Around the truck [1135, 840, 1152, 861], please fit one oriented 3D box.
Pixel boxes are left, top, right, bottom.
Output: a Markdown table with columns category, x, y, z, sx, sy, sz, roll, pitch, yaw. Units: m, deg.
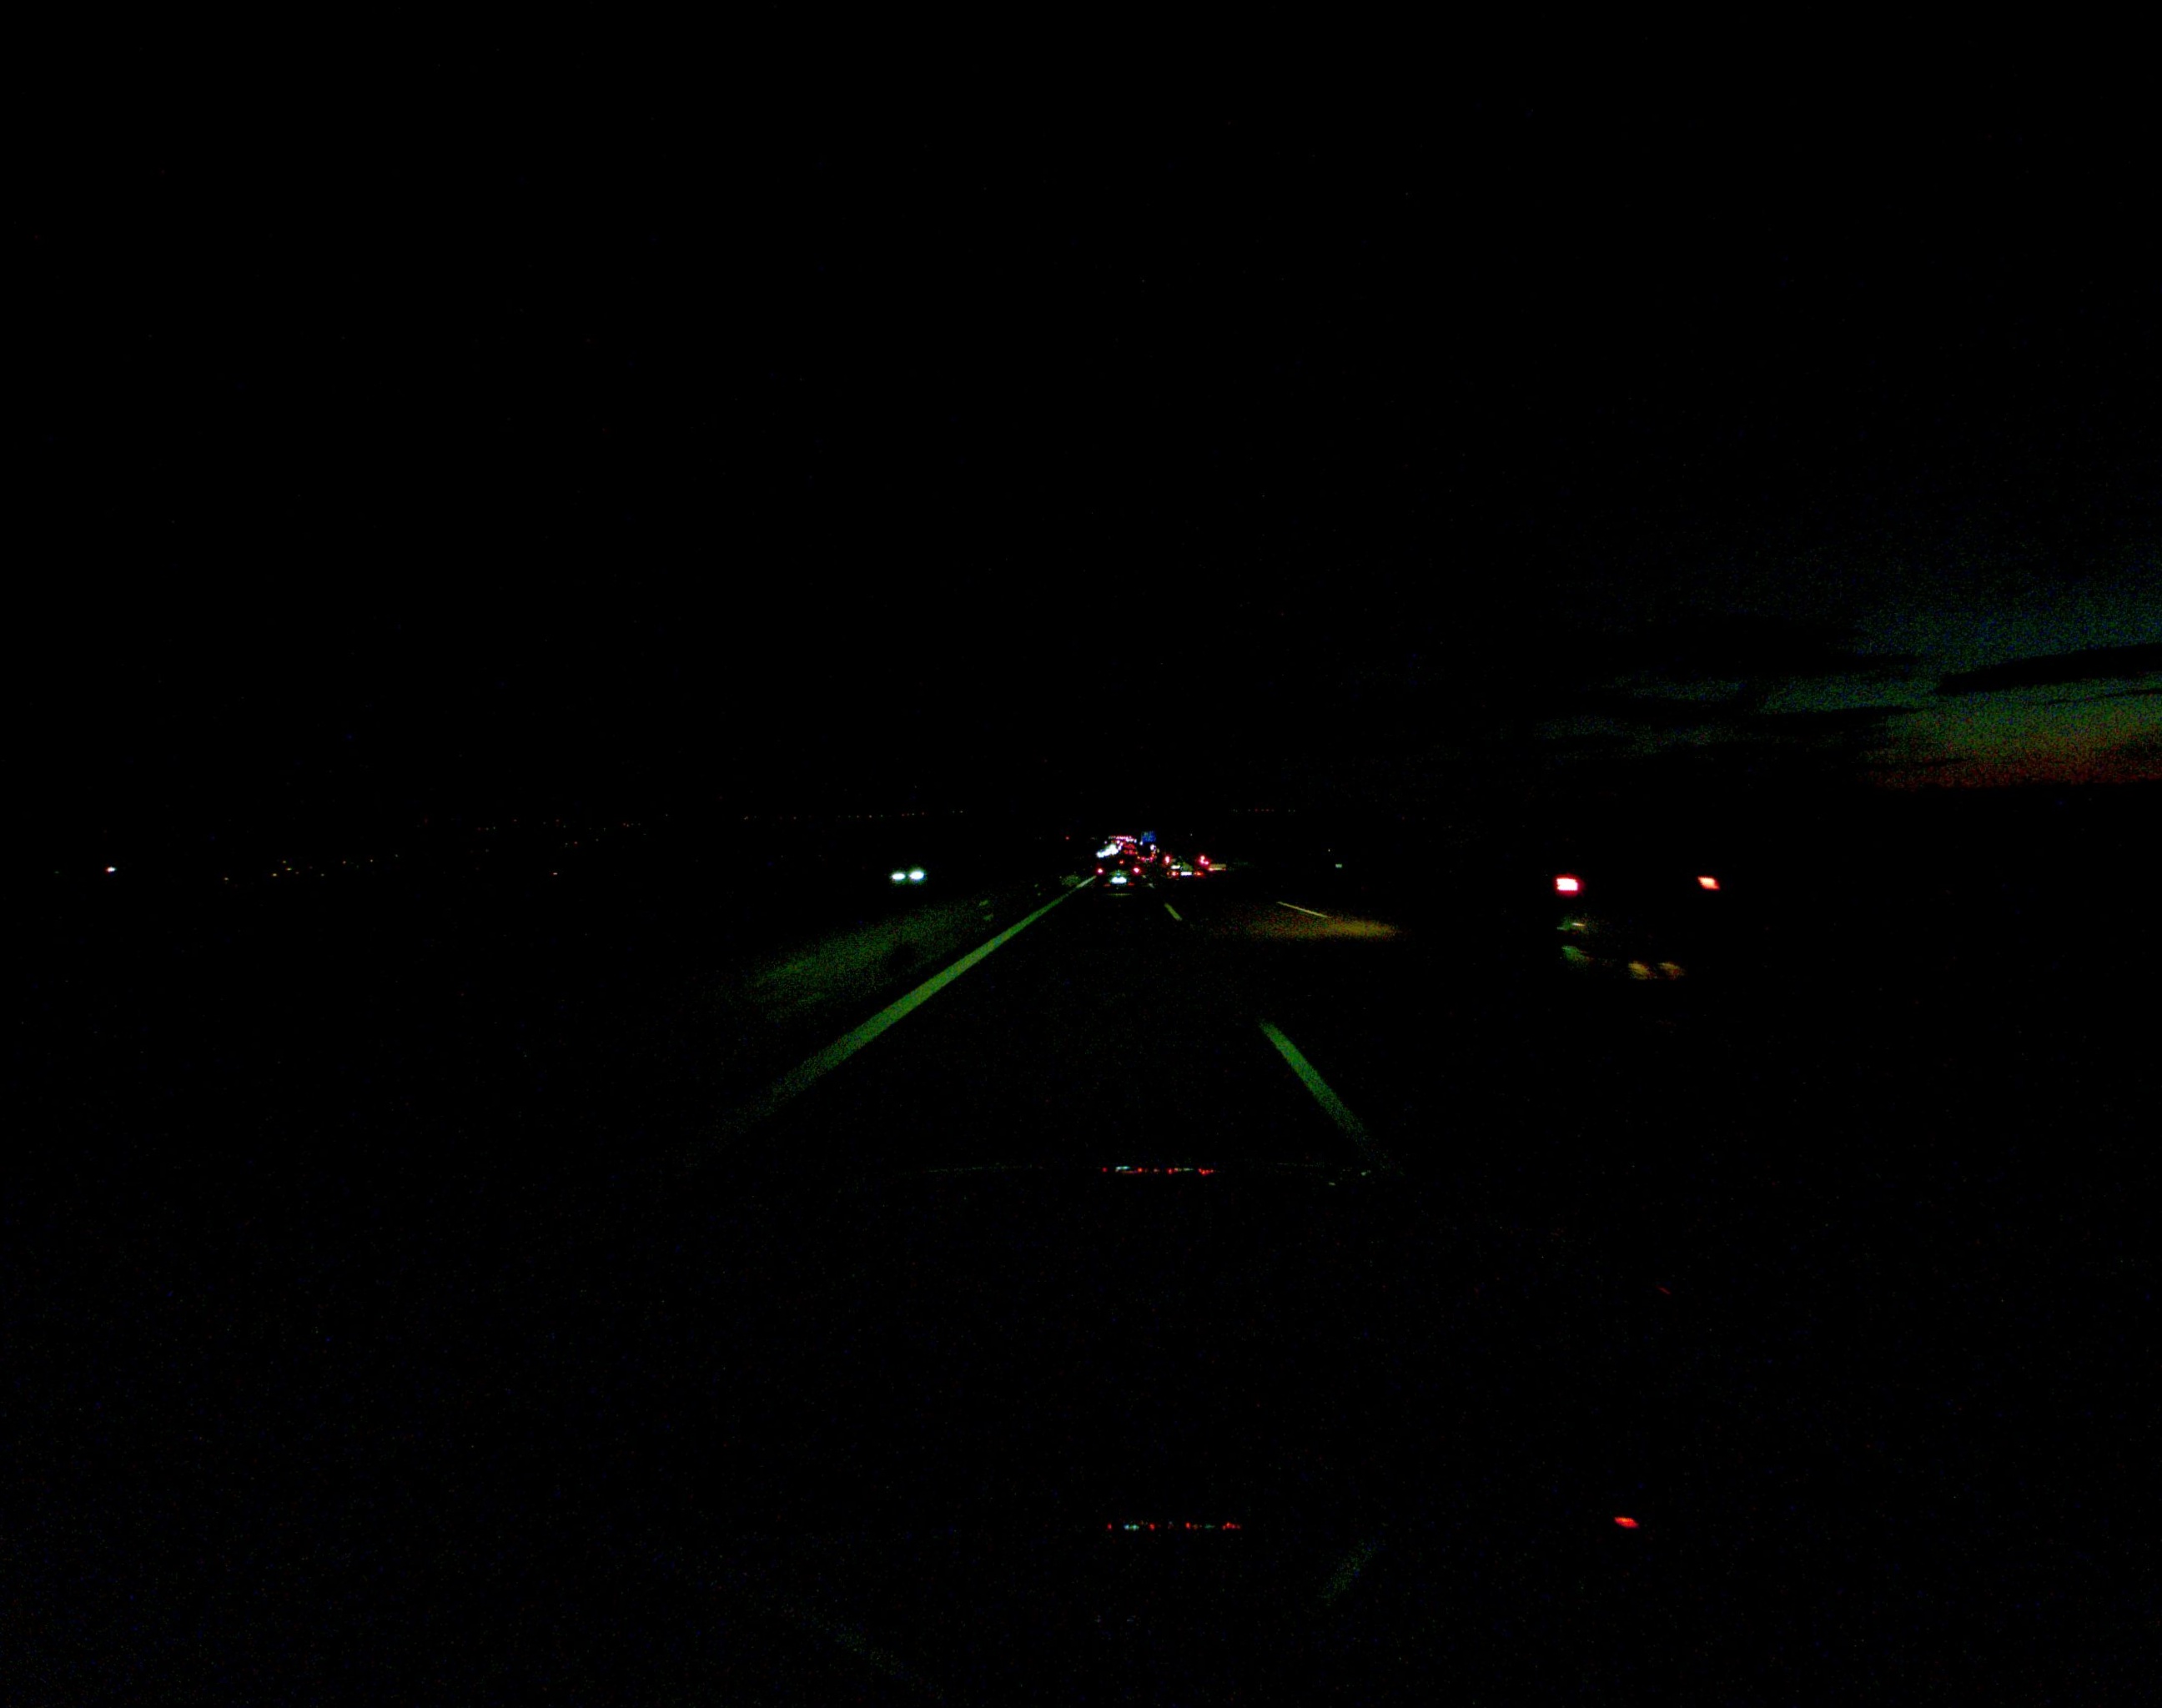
| category | x | y | z | sx | sy | sz | roll | pitch | yaw |
| --- | --- | --- | --- | --- | --- | --- | --- | --- | --- |
| truck | 12.063 | -0.656 | 157.784 | 2.770 | 3.955 | 7.996 | -2 | 0 | 2 |

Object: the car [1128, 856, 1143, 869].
| category | x | y | z | sx | sy | sz | roll | pitch | yaw |
| --- | --- | --- | --- | --- | --- | --- | --- | --- | --- |
| car | 6.435 | 0.974 | 96.009 | 1.737 | 1.440 | 4.372 | -2 | 0 | 4 |

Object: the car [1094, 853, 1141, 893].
| category | x | y | z | sx | sy | sz | roll | pitch | yaw |
| --- | --- | --- | --- | --- | --- | --- | --- | --- | --- |
| car | 1.541 | 0.739 | 33.623 | 1.786 | 1.469 | 3.776 | -1 | 0 | 3 |

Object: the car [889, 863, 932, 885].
| category | x | y | z | sx | sy | sz | roll | pitch | yaw |
| --- | --- | --- | --- | --- | --- | --- | --- | --- | --- |
| car | -12.977 | 1.494 | 62.359 | 1.986 | 1.419 | 4.985 | -4 | 0 | 1 |

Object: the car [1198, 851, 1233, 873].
| category | x | y | z | sx | sy | sz | roll | pitch | yaw |
| --- | --- | --- | --- | --- | --- | --- | --- | --- | --- |
| car | 10.361 | 0.590 | 62.942 | 2.153 | 1.563 | 4.727 | -1 | 0 | 3 |

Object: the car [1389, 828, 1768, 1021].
| category | x | y | z | sx | sy | sz | roll | pitch | yaw |
| --- | --- | --- | --- | --- | --- | --- | --- | --- | --- |
| car | 5.038 | 0.594 | 9.120 | 1.639 | 1.596 | 4.513 | -1 | 0 | 3 |

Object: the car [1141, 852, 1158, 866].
| category | x | y | z | sx | sy | sz | roll | pitch | yaw |
| --- | --- | --- | --- | --- | --- | --- | --- | --- | --- |
| car | 10.158 | 0.736 | 121.124 | 2.341 | 1.914 | 4.727 | -2 | 0 | 3 |

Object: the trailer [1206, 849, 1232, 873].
| category | x | y | z | sx | sy | sz | roll | pitch | yaw |
| --- | --- | --- | --- | --- | --- | --- | --- | --- | --- |
| trailer | 10.004 | 0.481 | 59.315 | 1.559 | 1.693 | 2.824 | -2 | 0 | 4 |

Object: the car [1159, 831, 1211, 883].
| category | x | y | z | sx | sy | sz | roll | pitch | yaw |
| --- | --- | --- | --- | --- | --- | --- | --- | --- | --- |
| car | 5.539 | 0.143 | 43.944 | 2.341 | 2.535 | 5.706 | -2 | 0 | 3 |

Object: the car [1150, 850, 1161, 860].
| category | x | y | z | sx | sy | sz | roll | pitch | yaw |
| --- | --- | --- | --- | --- | --- | --- | --- | --- | --- |
| car | 17.614 | 0.241 | 193.275 | 2.341 | 2.075 | 4.727 | -2 | 0 | 3 |
